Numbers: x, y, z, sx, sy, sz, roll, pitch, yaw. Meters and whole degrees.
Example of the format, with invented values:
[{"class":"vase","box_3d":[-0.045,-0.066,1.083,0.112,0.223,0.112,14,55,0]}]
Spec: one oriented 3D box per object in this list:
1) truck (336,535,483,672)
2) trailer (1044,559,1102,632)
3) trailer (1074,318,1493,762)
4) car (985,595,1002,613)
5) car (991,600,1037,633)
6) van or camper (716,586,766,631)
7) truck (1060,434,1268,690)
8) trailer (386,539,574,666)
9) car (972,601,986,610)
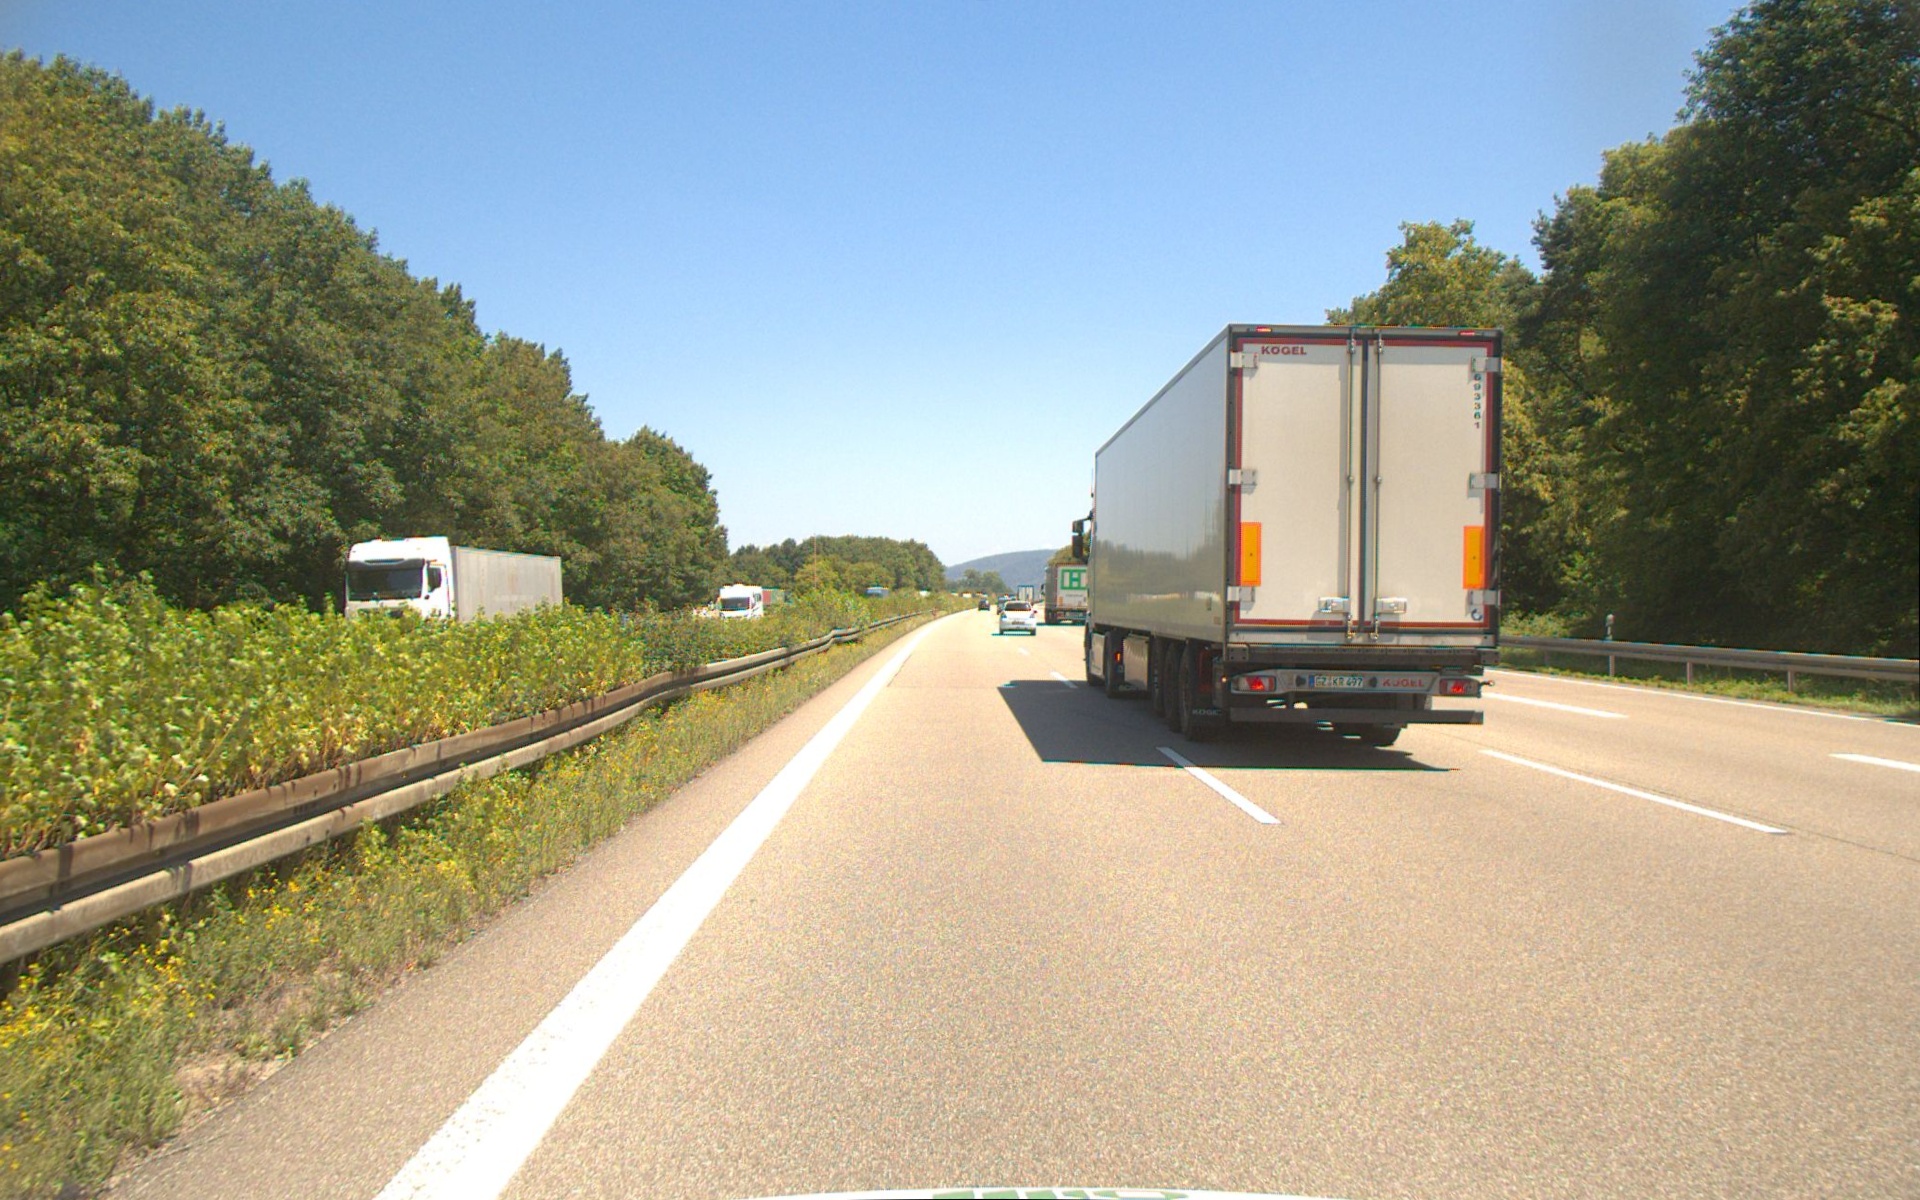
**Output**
[{"class":"truck","box_3d":[-16.351,0.105,49.469,2.831,3.890,4.883,0,0,-1]},{"class":"trailer","box_3d":[7.617,-0.309,113.415,3.117,4.708,12.049,0,0,0]},{"class":"trailer","box_3d":[3.501,-0.595,21.896,3.157,4.216,12.351,0,0,0]},{"class":"car","box_3d":[3.928,0.466,194.378,1.843,2.049,4.000,0,0,0]},{"class":"car","box_3d":[2.438,0.735,75.601,1.776,1.429,3.314,0,0,-4]},{"class":"van or camper","box_3d":[-15.888,0.601,120.519,2.370,3.166,9.087,0,0,0]},{"class":"truck","box_3d":[3.513,-0.632,29.673,3.163,4.230,4.559,0,0,0]},{"class":"trailer","box_3d":[-16.520,0.087,58.239,2.850,3.945,13.640,0,0,-1]},{"class":"car","box_3d":[2.934,0.866,257.555,1.845,1.373,4.464,0,0,-4]}]
